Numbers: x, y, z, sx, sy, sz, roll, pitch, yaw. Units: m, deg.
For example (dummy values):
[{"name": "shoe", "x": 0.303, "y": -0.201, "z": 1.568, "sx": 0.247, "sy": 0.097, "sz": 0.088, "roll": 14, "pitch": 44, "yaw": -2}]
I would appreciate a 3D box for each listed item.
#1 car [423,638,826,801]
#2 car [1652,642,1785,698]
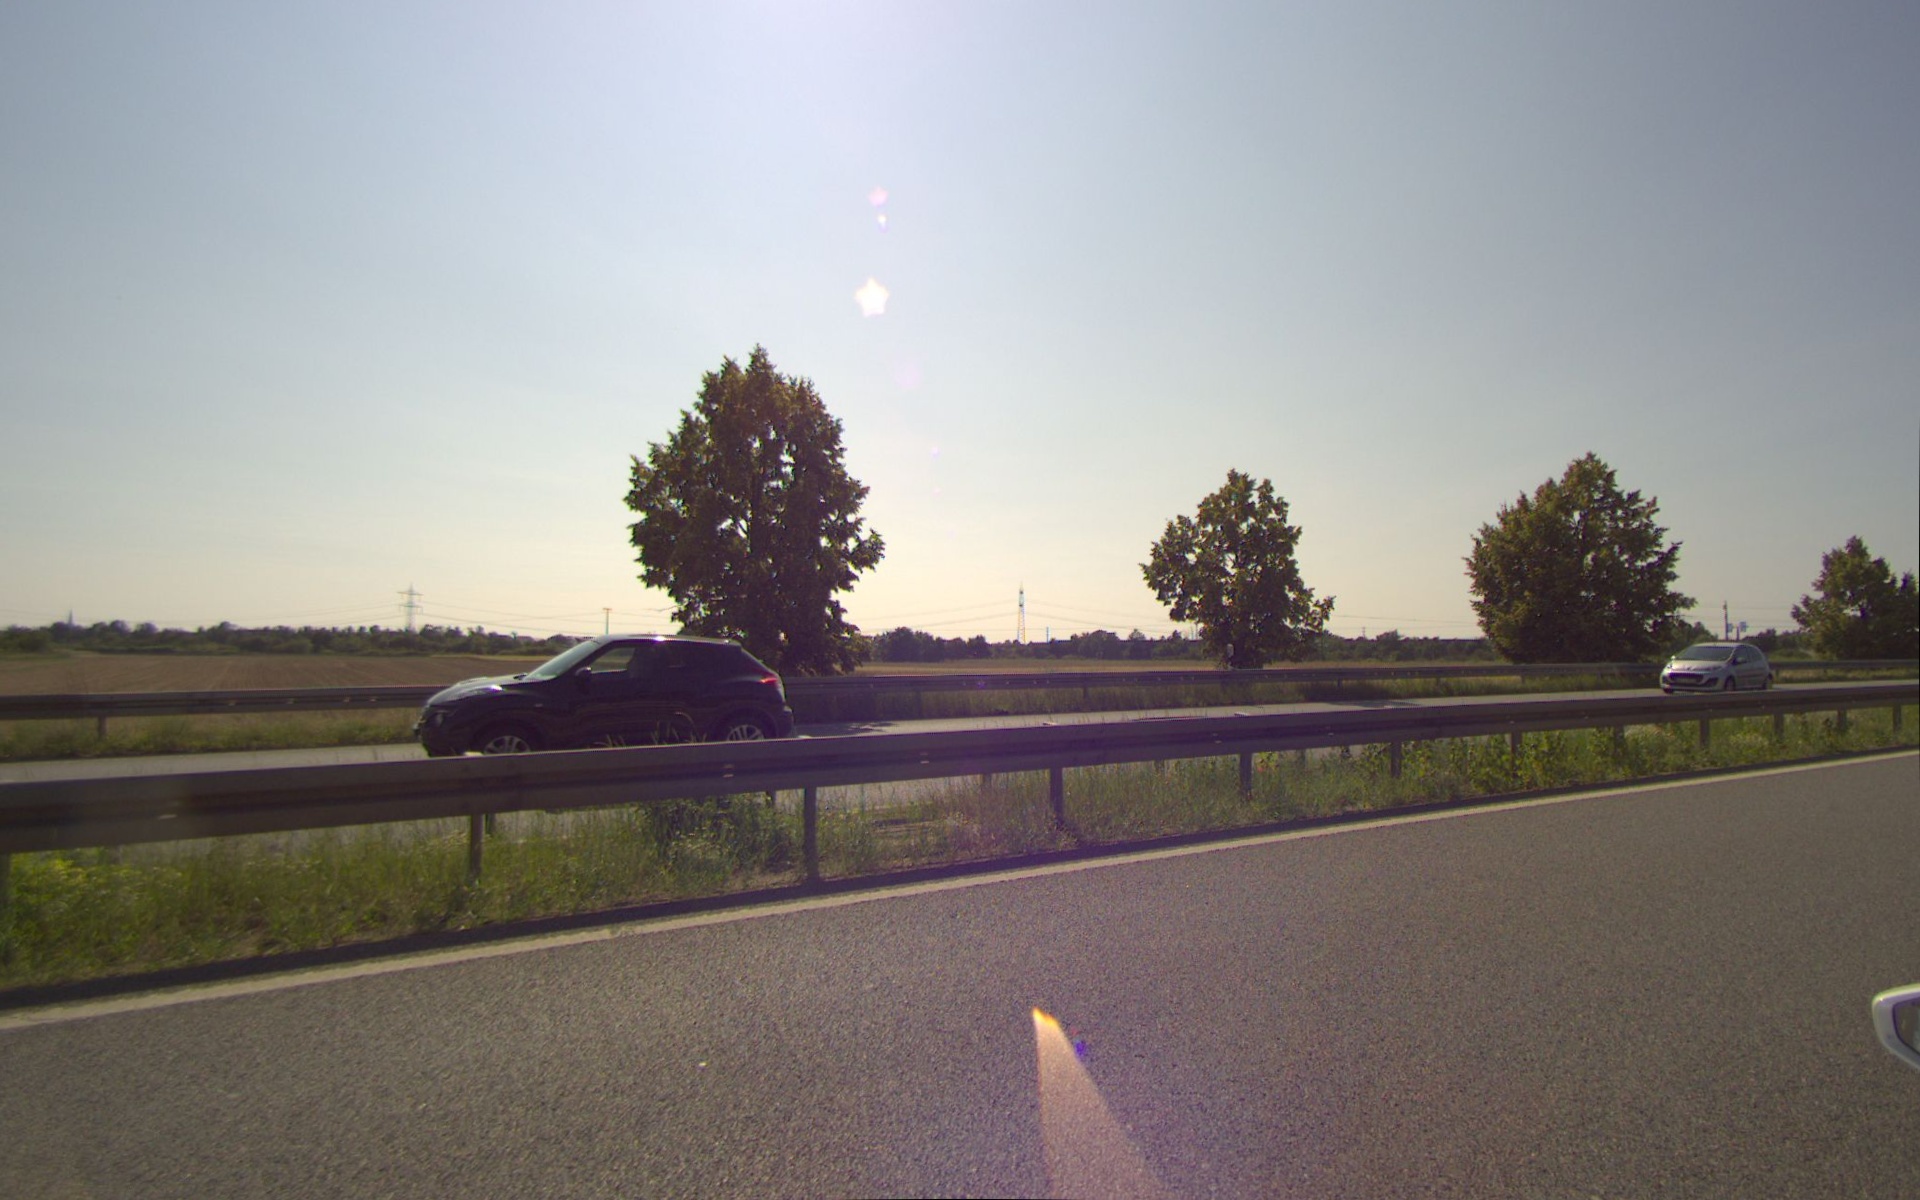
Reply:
[{"name": "car", "x": -3.818, "y": 1.241, "z": 11.620, "sx": 4.191, "sy": 1.561, "sz": 1.683, "roll": 1, "pitch": -1, "yaw": -29}, {"name": "car", "x": 21.597, "y": 1.947, "z": 28.584, "sx": 3.893, "sy": 1.456, "sz": 1.682, "roll": 1, "pitch": -2, "yaw": -30}]
